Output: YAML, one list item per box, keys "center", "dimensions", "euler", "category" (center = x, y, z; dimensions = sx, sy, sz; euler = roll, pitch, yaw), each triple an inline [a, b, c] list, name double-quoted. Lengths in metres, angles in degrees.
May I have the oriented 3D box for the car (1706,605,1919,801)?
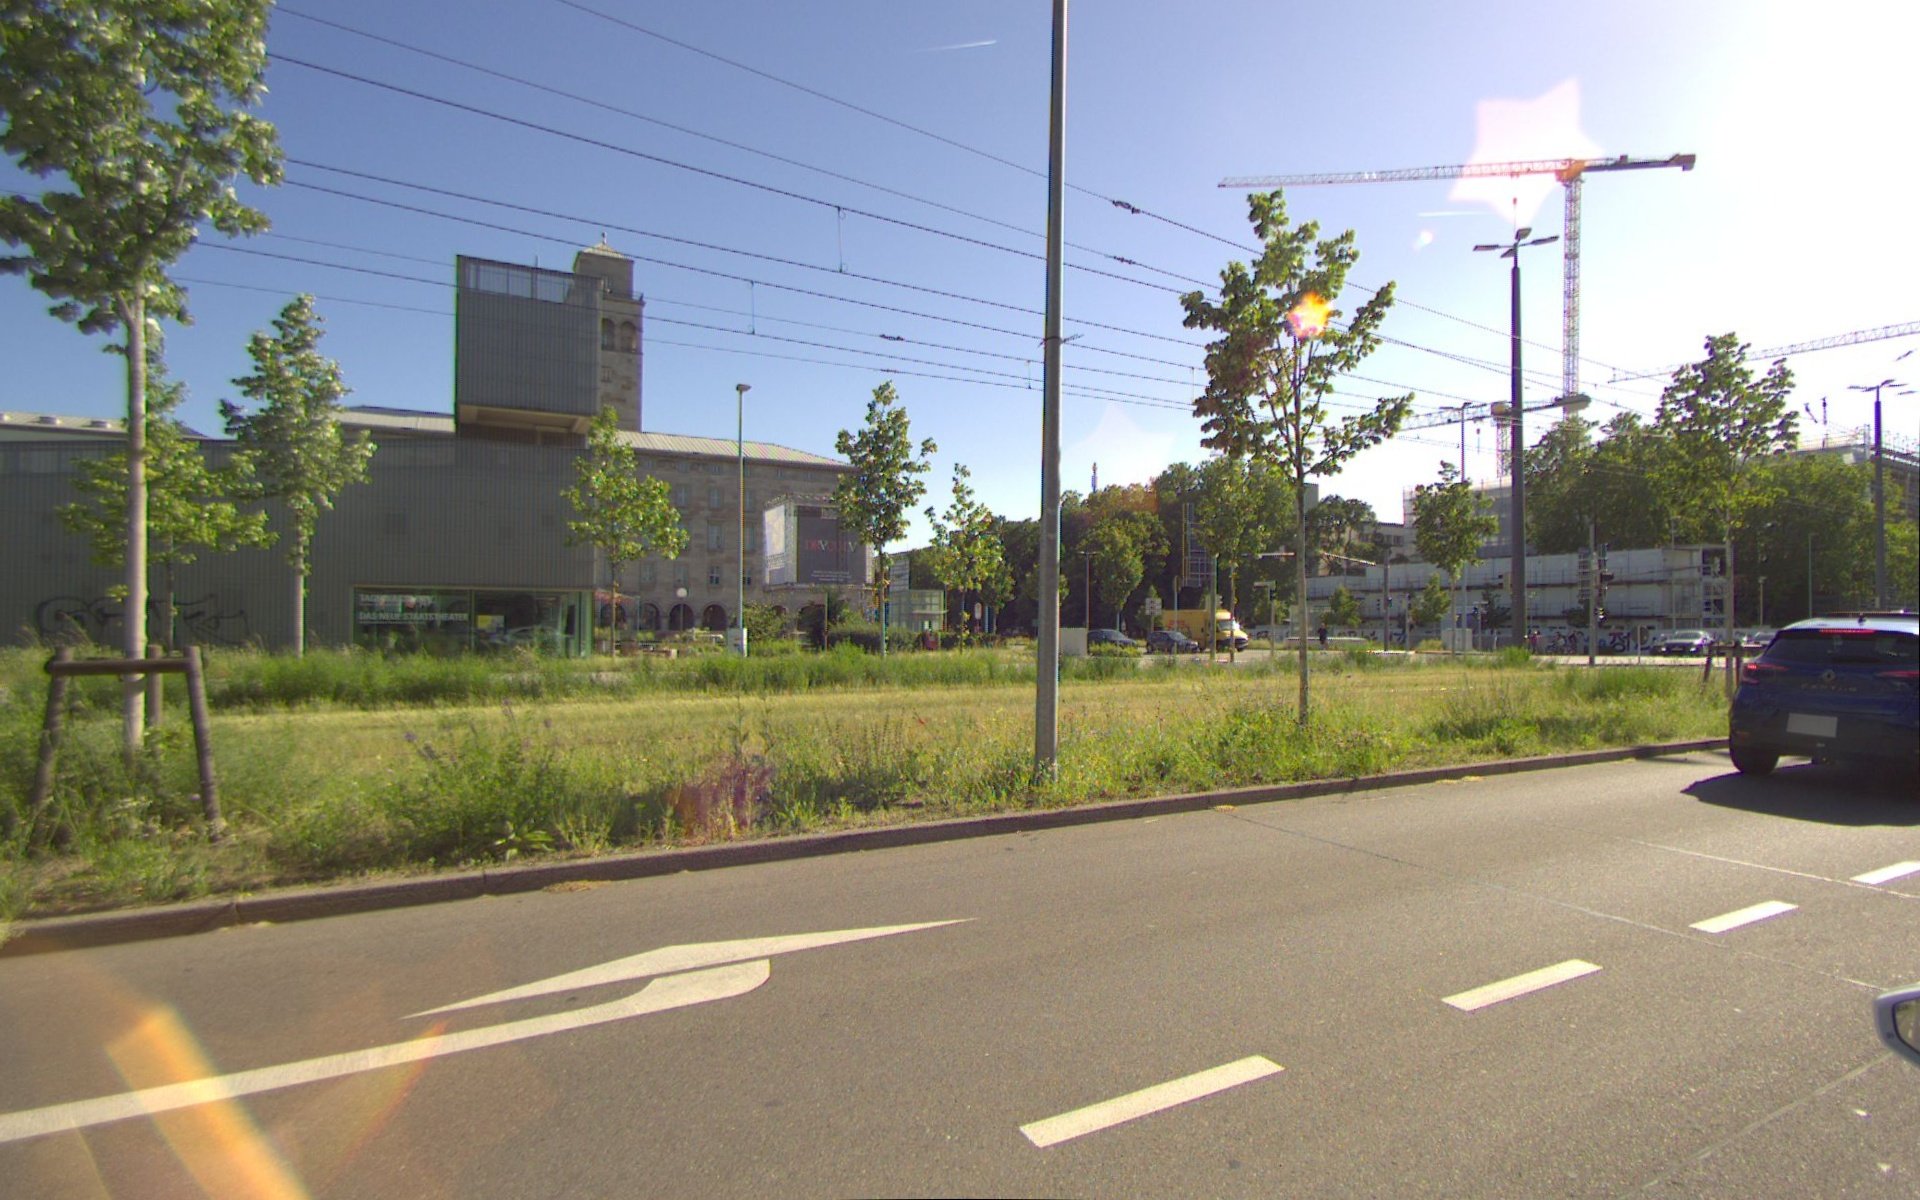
- center: [9.388, 0.899, 9.972]
  dimensions: [4.041, 1.609, 1.761]
  euler: [1, 0, -31]
  category: "car"

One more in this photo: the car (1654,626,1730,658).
- center: [40.200, 2.269, 55.178]
  dimensions: [4.040, 1.711, 1.818]
  euler: [1, -1, -28]
  category: "car"

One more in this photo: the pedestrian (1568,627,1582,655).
- center: [41.044, 2.753, 67.016]
  dimensions: [0.687, 1.847, 0.595]
  euler: [0, -1, 22]
  category: "pedestrian"

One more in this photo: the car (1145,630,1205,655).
- center: [14.060, 2.772, 65.813]
  dimensions: [1.877, 1.559, 3.976]
  euler: [1, -1, -25]
  category: "car"

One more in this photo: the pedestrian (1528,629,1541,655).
- center: [40.998, 2.999, 71.656]
  dimensions: [0.687, 1.847, 0.595]
  euler: [0, -1, 22]
  category: "pedestrian"

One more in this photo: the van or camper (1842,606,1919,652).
- center: [63.080, 1.995, 68.433]
  dimensions: [7.261, 2.976, 2.591]
  euler: [1, -2, -32]
  category: "van or camper"

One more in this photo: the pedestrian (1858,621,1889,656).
- center: [48.690, 2.067, 53.541]
  dimensions: [0.864, 1.847, 0.803]
  euler: [0, -1, 2]
  category: "pedestrian"

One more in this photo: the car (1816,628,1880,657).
- center: [56.342, 2.674, 63.693]
  dimensions: [4.319, 1.730, 1.935]
  euler: [1, -2, -32]
  category: "car"

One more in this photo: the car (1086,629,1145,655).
- center: [9.832, 2.626, 63.725]
  dimensions: [1.877, 1.559, 3.976]
  euler: [1, -1, -25]
  category: "car"

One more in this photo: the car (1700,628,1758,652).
- center: [57.239, 2.974, 74.753]
  dimensions: [3.951, 1.623, 1.985]
  euler: [1, 0, -29]
  category: "car"

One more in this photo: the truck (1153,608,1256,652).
- center: [16.666, 2.020, 69.091]
  dimensions: [2.429, 2.829, 7.985]
  euler: [1, -1, -25]
  category: "truck"

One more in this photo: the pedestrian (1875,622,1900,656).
- center: [50.400, 2.127, 54.595]
  dimensions: [0.966, 1.847, 0.795]
  euler: [1, -1, -33]
  category: "pedestrian"

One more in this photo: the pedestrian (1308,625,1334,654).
- center: [21.350, 2.324, 59.390]
  dimensions: [0.934, 1.708, 1.189]
  euler: [-1, 0, -22]
  category: "pedestrian"
